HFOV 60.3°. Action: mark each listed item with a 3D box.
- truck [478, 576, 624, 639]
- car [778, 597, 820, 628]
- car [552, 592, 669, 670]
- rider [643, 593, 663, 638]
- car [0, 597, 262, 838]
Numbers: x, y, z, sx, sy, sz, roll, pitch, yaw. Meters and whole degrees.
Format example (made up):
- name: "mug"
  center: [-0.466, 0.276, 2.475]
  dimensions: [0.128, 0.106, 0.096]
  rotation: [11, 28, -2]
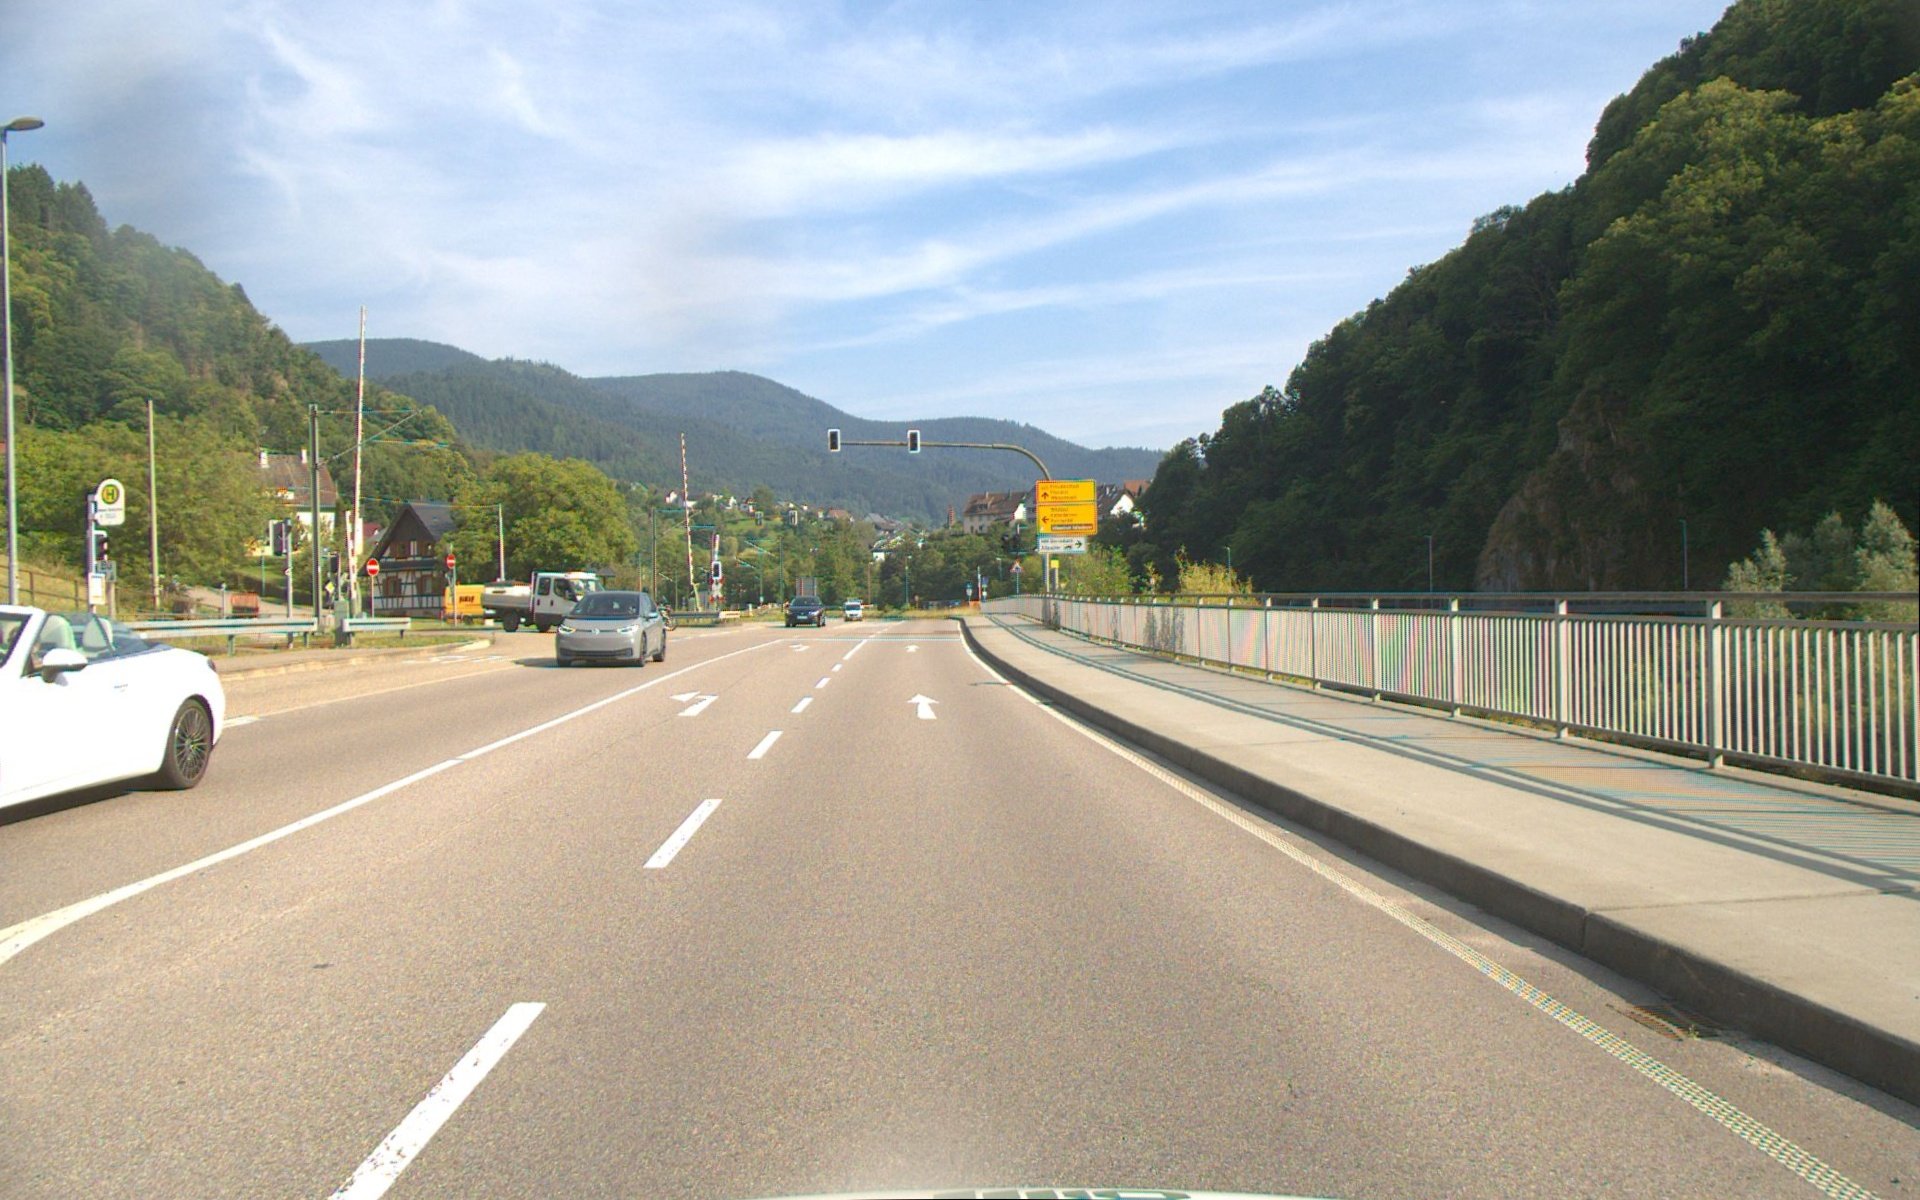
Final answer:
- name: "truck"
  center: [-15.641, 0.238, 63.108]
  dimensions: [5.878, 2.306, 1.994]
  rotation: [0, 1, 34]
- name: "car"
  center: [-7.669, 0.572, 78.916]
  dimensions: [1.737, 1.441, 3.783]
  rotation: [-1, 0, -2]
- name: "car"
  center: [-7.400, 0.613, 35.400]
  dimensions: [1.723, 1.548, 4.203]
  rotation: [0, 0, -2]
- name: "rider"
  center: [-12.761, 0.640, 68.738]
  dimensions: [0.740, 1.851, 0.739]
  rotation: [1, 1, -17]
- name: "car"
  center: [-6.540, 0.692, 11.043]
  dimensions: [1.746, 1.424, 4.826]
  rotation: [0, 0, -1]
